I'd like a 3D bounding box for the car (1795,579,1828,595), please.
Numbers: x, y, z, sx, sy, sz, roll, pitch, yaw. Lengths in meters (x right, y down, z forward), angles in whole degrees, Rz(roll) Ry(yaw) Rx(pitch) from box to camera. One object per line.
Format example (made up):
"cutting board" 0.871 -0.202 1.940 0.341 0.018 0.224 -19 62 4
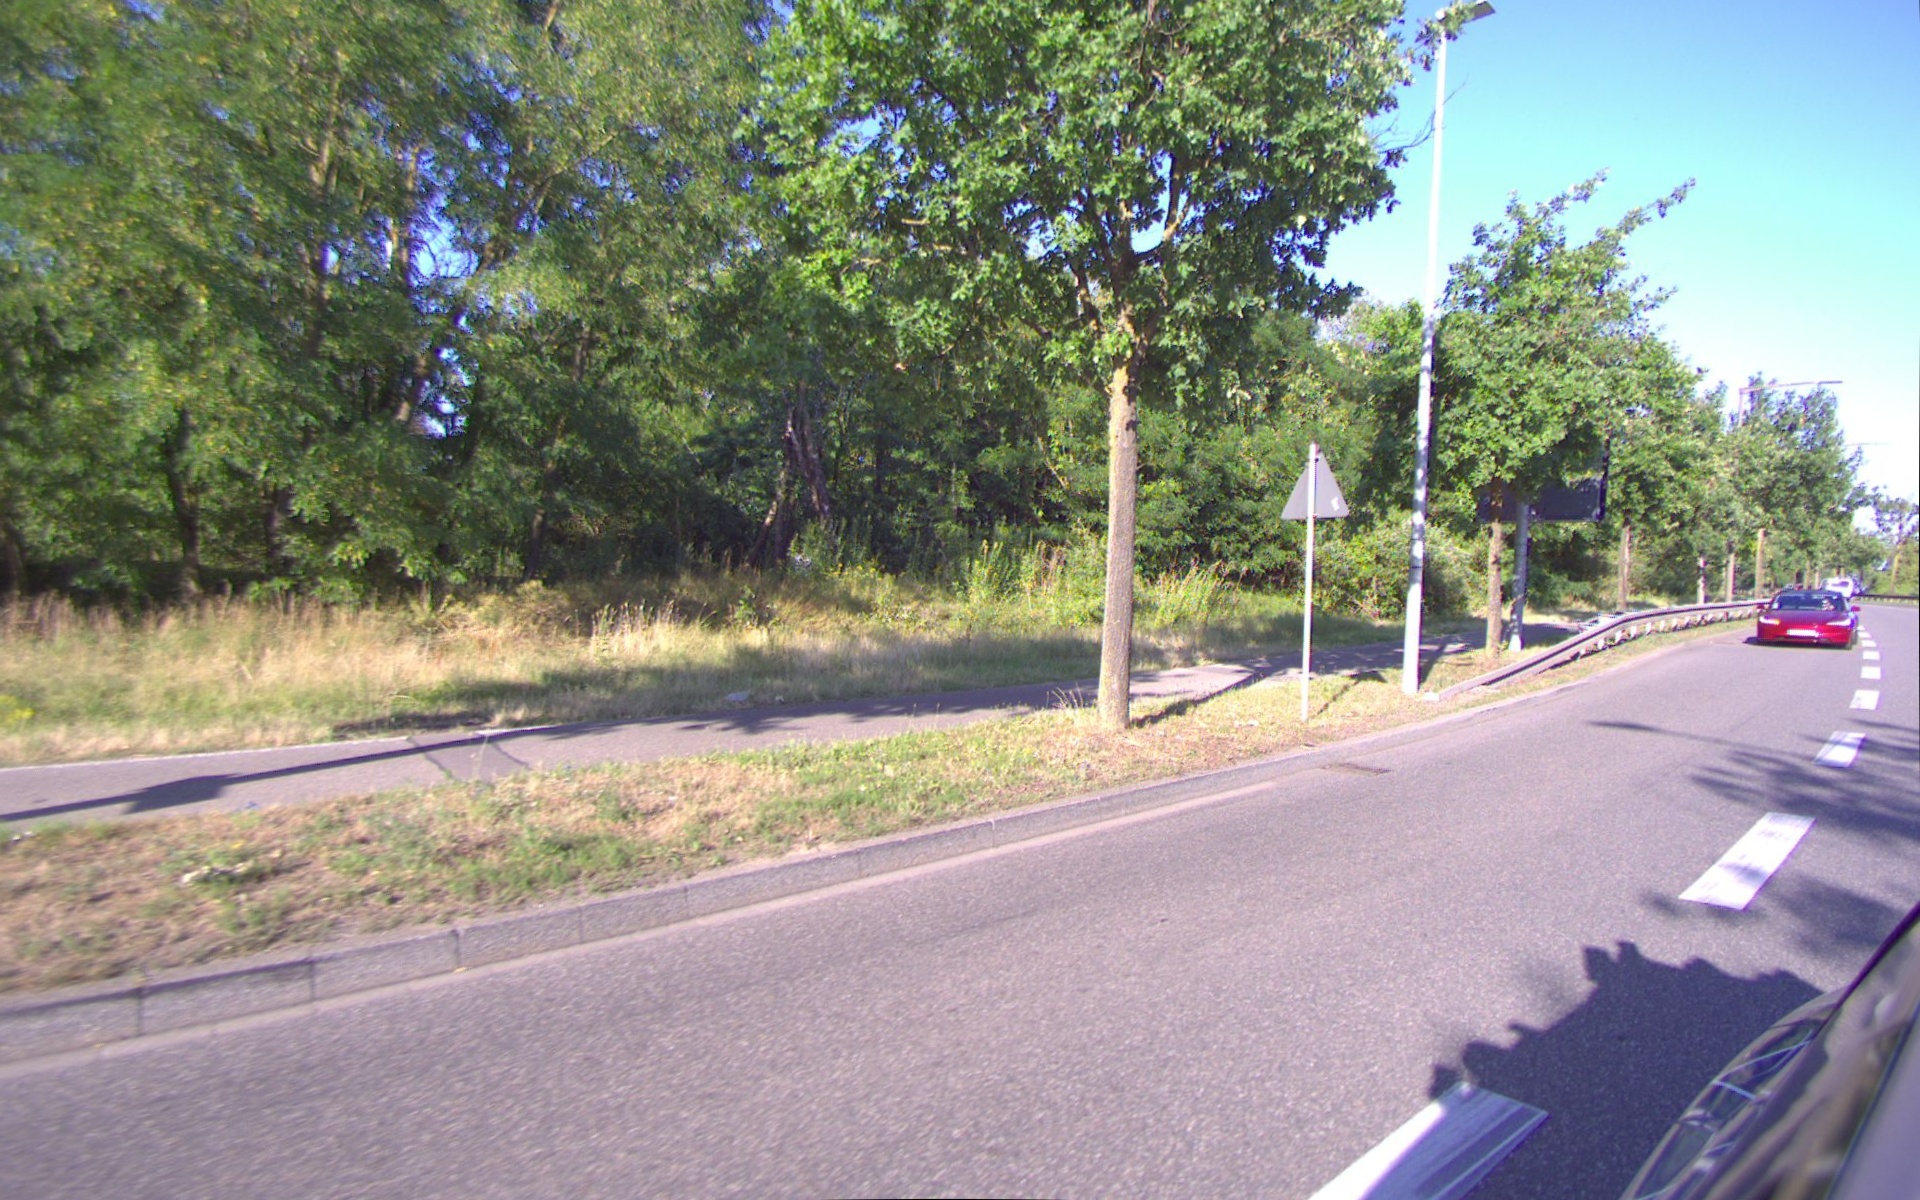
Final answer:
"car" 85.811 -1.341 102.046 1.763 1.483 4.337 2 3 30

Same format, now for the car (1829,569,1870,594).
"car" 77.139 -1.623 87.814 1.870 2.038 5.200 1 2 33

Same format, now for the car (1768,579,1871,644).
"car" 21.955 0.225 25.795 1.777 1.460 4.292 2 2 43
